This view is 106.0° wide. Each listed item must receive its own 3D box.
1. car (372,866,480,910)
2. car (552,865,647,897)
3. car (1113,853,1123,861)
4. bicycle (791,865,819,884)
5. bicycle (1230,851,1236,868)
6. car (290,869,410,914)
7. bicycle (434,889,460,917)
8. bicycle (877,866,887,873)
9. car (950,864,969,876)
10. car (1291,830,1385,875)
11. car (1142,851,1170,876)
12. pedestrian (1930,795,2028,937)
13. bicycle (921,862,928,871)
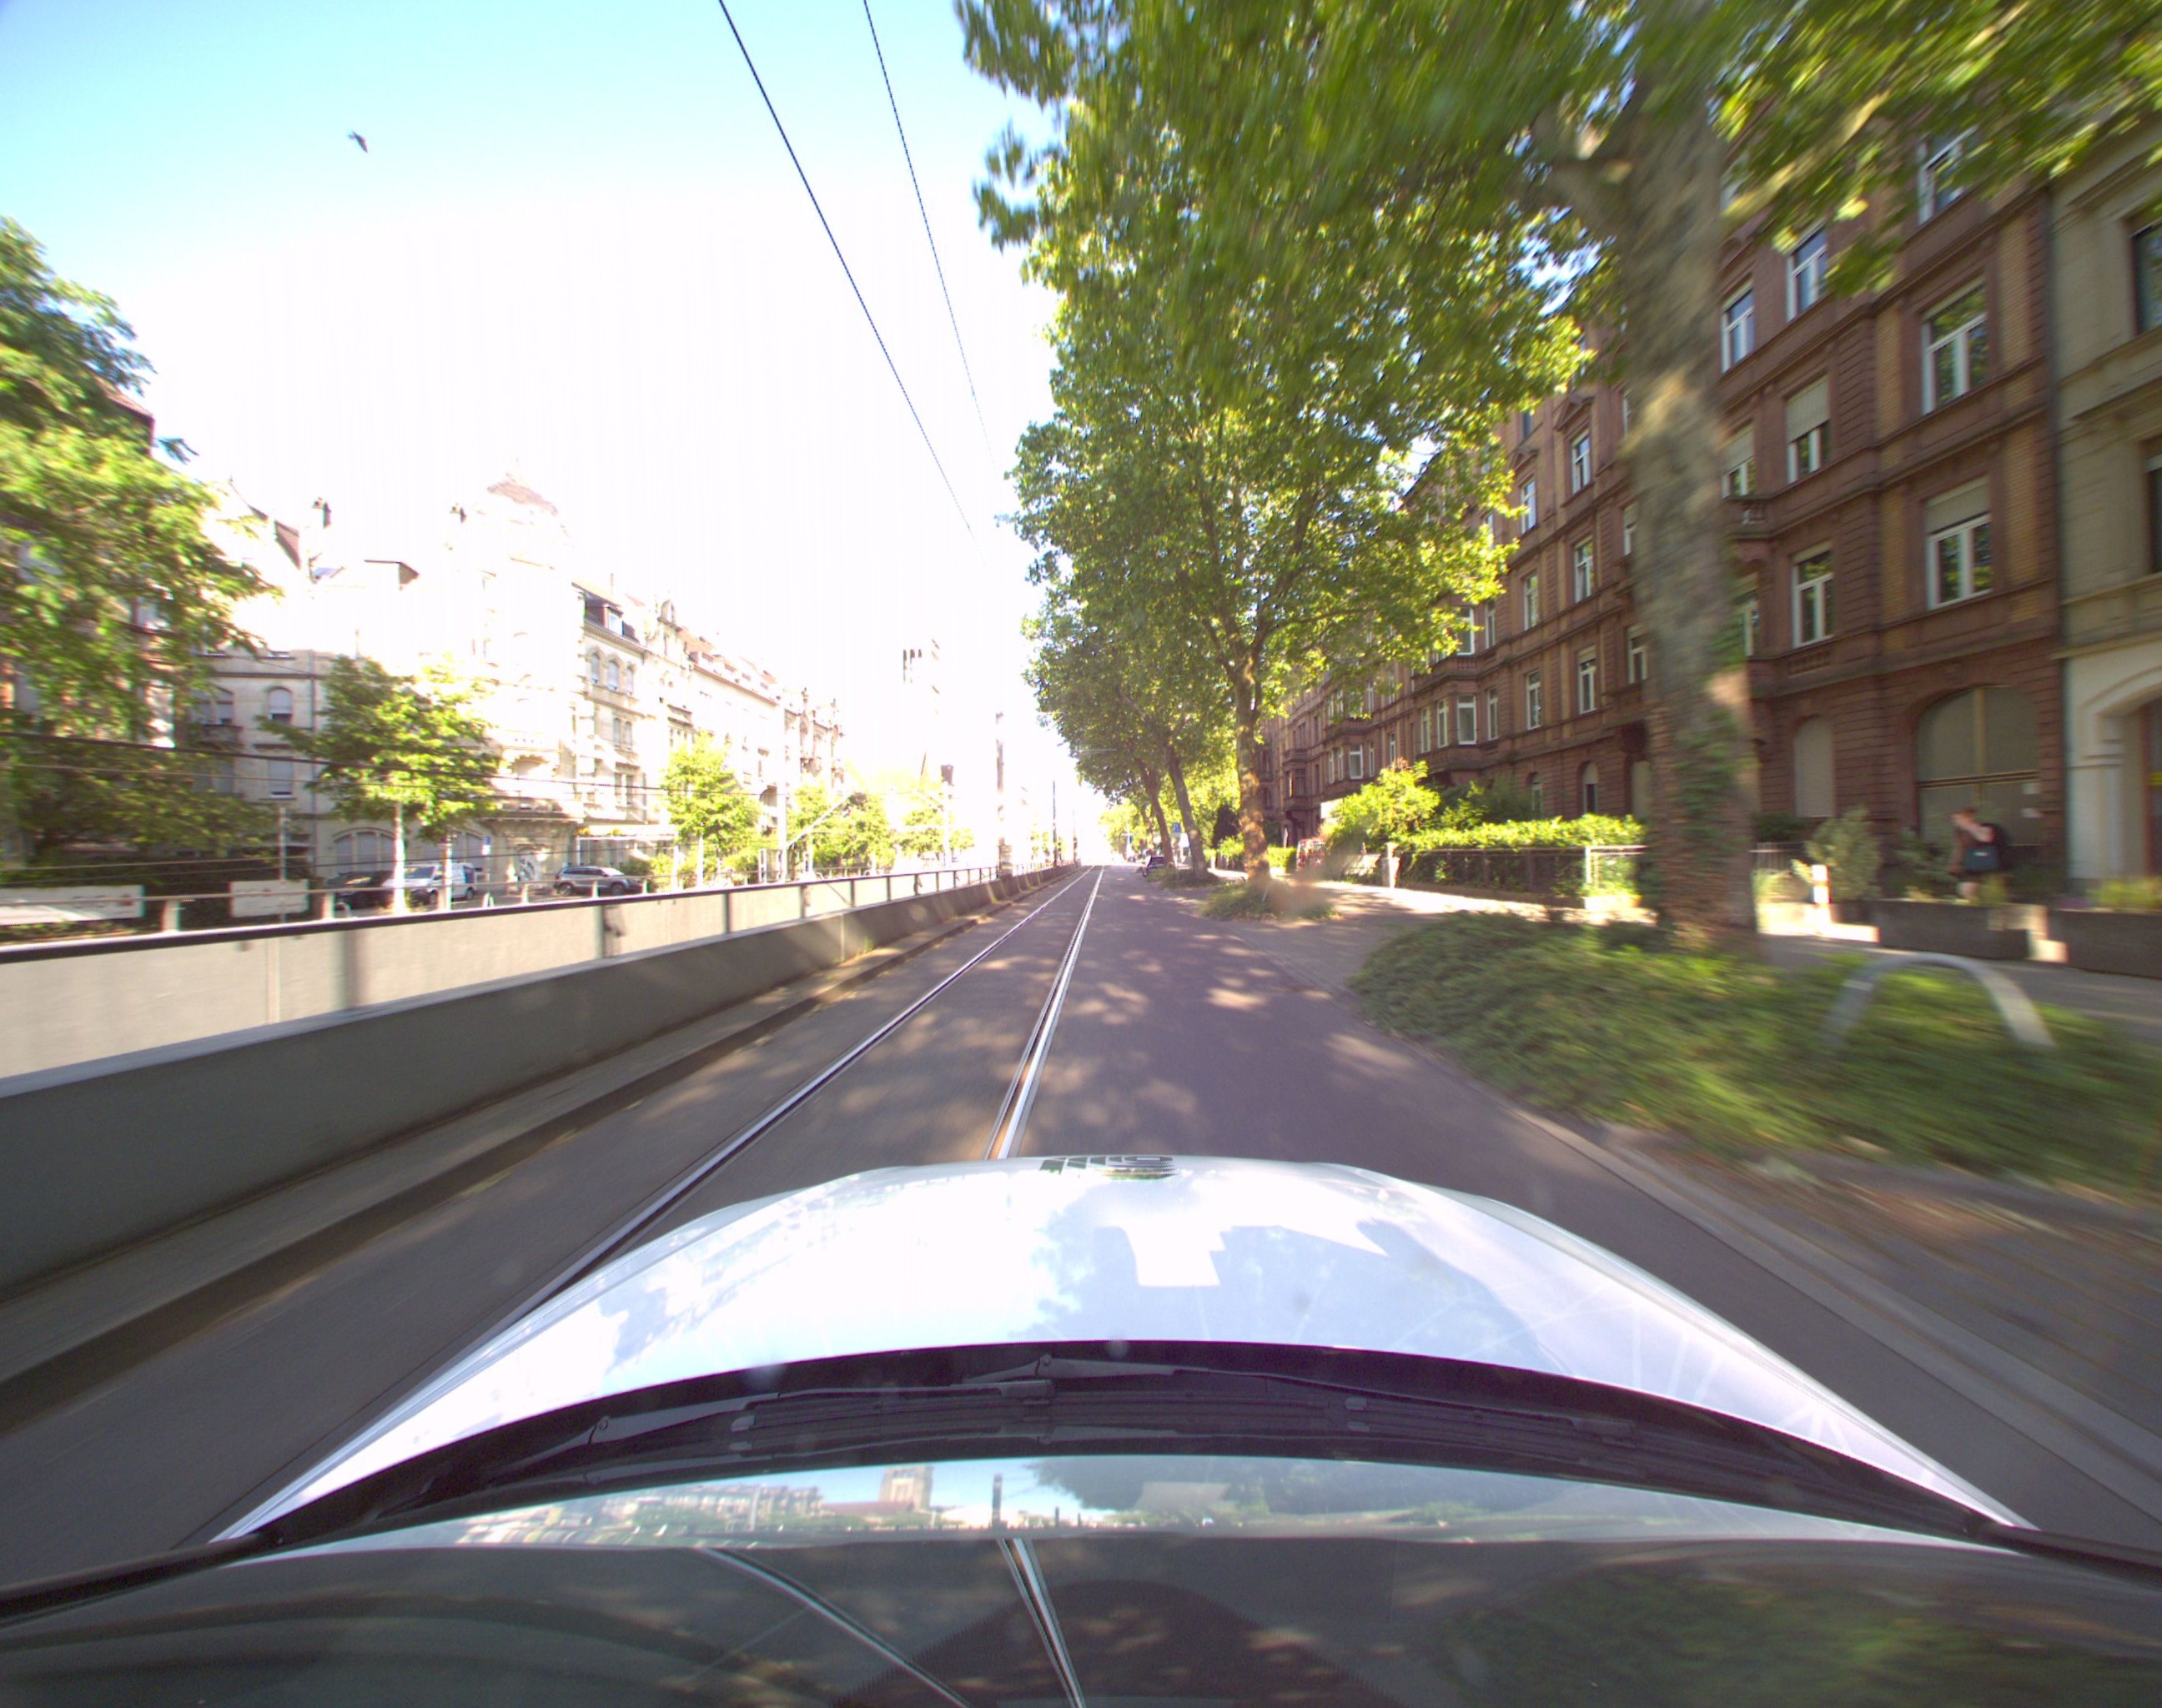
[{"bbox_3d":[-30.748,1.536,38.414,1.994,1.849,4.465,1,0,-10],"label":"car"},{"bbox_3d":[-25.874,1.427,43.903,3.984,1.624,1.821,0,0,-8],"label":"car"},{"bbox_3d":[6.997,0.587,154.761,1.739,1.462,3.645,1,0,1],"label":"car"},{"bbox_3d":[-19.227,1.435,56.790,1.721,1.280,0.601,-1,-1,7],"label":"bicycle"},{"bbox_3d":[11.707,0.415,62.760,0.336,1.250,1.770,1,0,6],"label":"bicycle"},{"bbox_3d":[-33.385,1.662,37.387,1.994,1.849,4.465,1,0,-10],"label":"car"},{"bbox_3d":[-23.448,1.804,30.135,0.457,1.005,1.926,1,-3,-29],"label":"bicycle"},{"bbox_3d":[-21.468,1.670,87.988,0.414,0.800,1.890,1,0,5],"label":"bicycle"},{"bbox_3d":[-16.983,2.270,113.711,1.708,1.555,4.514,1,0,4],"label":"car"},{"bbox_3d":[13.250,-0.077,42.162,4.163,2.013,2.000,-4,0,0],"label":"car"},{"bbox_3d":[5.225,0.650,57.037,1.610,1.587,4.418,-2,0,1],"label":"car"},{"bbox_3d":[13.129,0.169,11.923,0.670,2.013,0.633,-2,0,1],"label":"pedestrian"},{"bbox_3d":[-18.021,1.456,93.729,0.487,1.022,1.879,1,0,-22],"label":"bicycle"}]
